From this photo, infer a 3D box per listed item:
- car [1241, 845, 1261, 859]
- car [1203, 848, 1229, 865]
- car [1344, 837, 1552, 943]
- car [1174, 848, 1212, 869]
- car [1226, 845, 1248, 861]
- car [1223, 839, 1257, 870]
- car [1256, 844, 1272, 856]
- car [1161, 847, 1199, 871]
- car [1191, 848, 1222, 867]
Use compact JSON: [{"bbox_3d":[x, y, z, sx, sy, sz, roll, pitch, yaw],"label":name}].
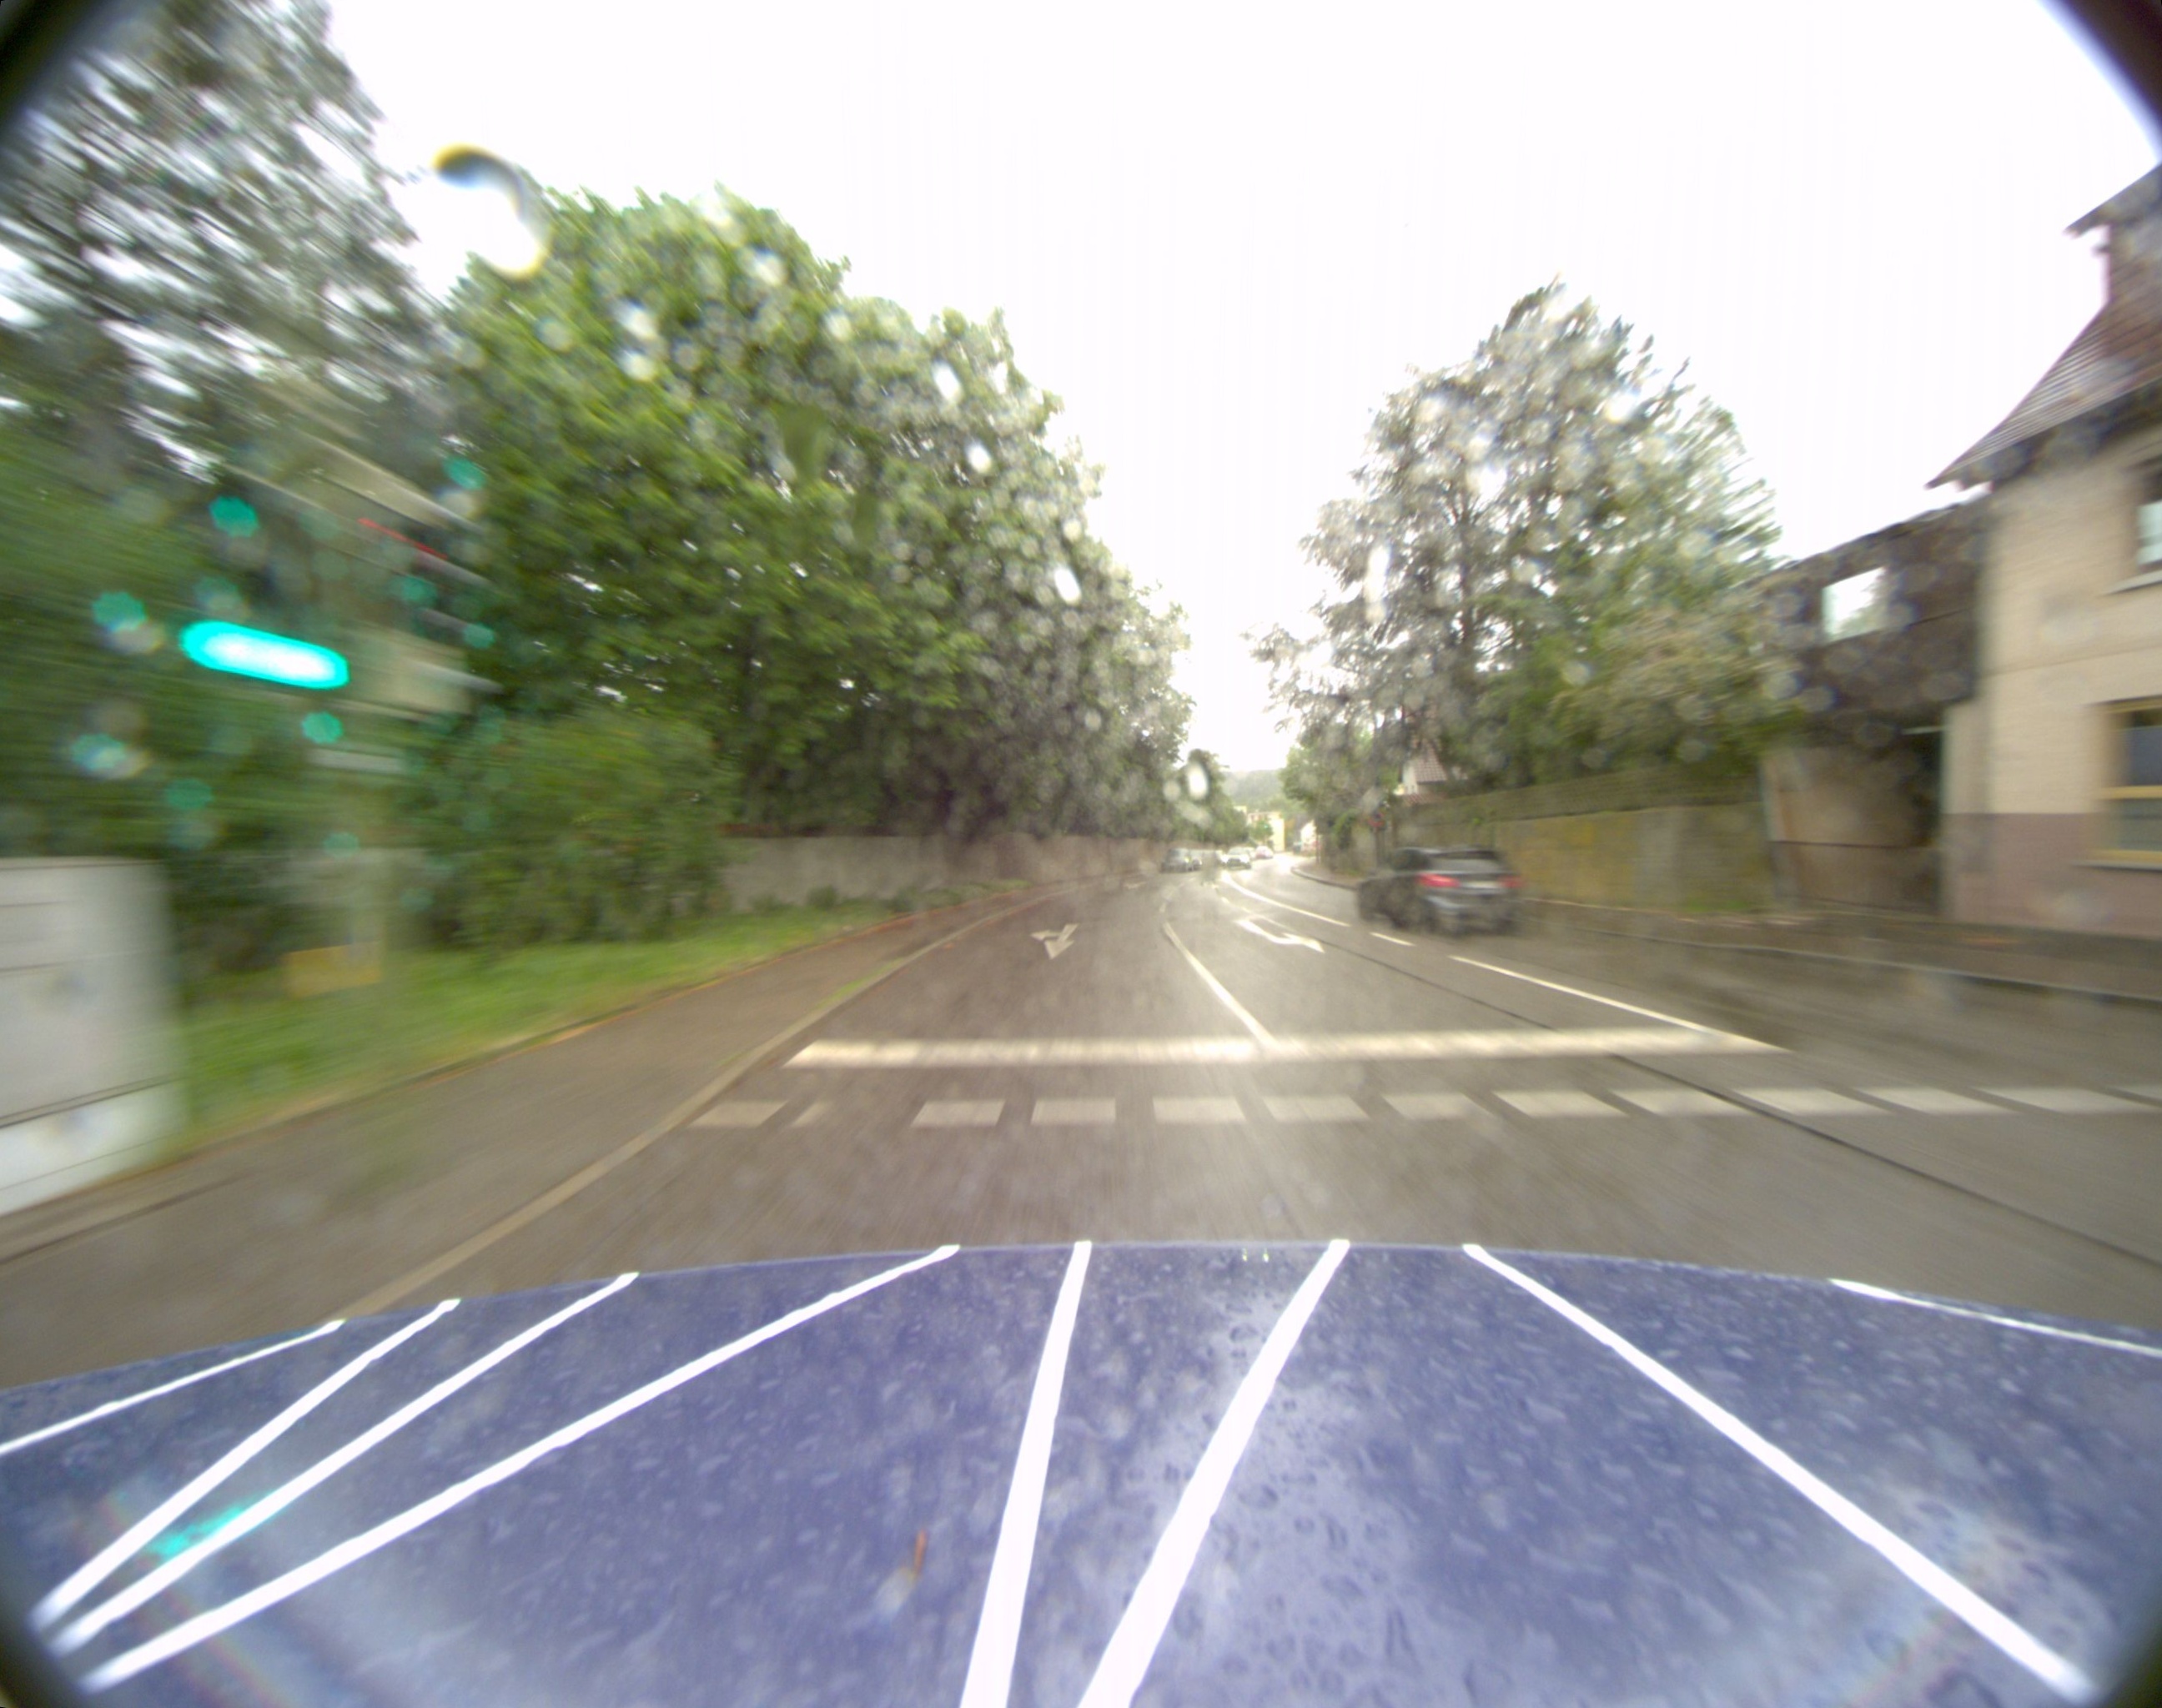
[{"bbox_3d":[20.331,-0.229,90.885,1.831,1.620,4.159,0,1,19],"label":"car"},{"bbox_3d":[11.702,0.181,65.564,1.761,1.411,4.158,0,1,16],"label":"car"},{"bbox_3d":[6.707,0.577,14.440,1.998,1.696,3.999,-1,1,0],"label":"car"},{"bbox_3d":[8.167,0.310,55.021,1.996,1.411,4.490,0,1,18],"label":"car"},{"bbox_3d":[16.258,-0.074,78.893,1.831,1.620,4.158,0,1,17],"label":"car"},{"bbox_3d":[11.570,0.006,55.033,1.996,2.002,4.004,-2,2,17],"label":"car"},{"bbox_3d":[26.945,-0.591,111.673,1.946,1.783,4.191,0,1,18],"label":"car"},{"bbox_3d":[6.499,0.307,49.552,1.792,1.524,3.805,0,1,17],"label":"car"},{"bbox_3d":[10.037,0.255,60.487,1.761,1.411,4.159,0,1,18],"label":"car"}]
